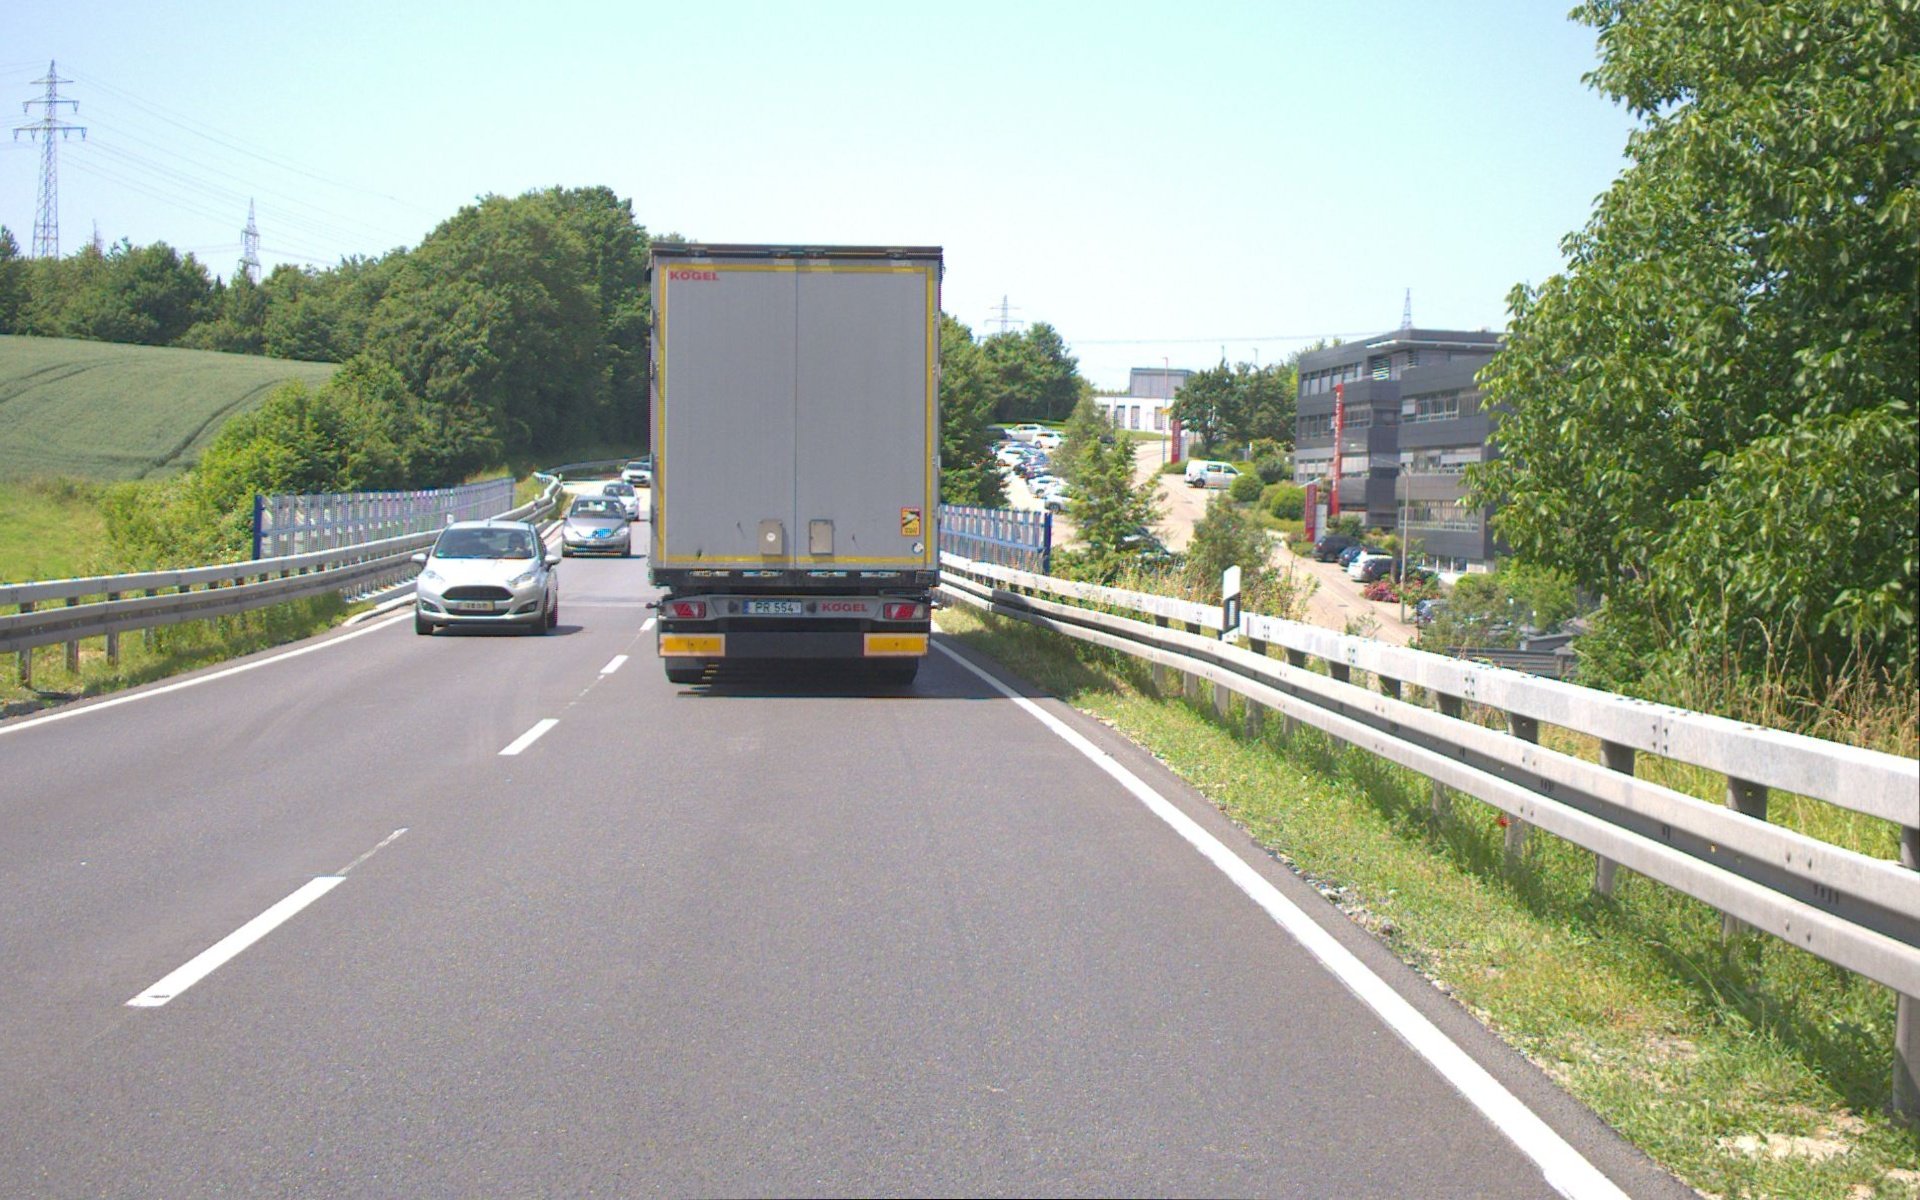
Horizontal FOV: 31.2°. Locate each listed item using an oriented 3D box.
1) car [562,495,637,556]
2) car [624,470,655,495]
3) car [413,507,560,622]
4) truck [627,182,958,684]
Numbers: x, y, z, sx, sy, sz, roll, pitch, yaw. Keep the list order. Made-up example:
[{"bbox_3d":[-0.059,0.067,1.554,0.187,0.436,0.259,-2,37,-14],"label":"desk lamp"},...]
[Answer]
[{"bbox_3d":[-9.573,-1.988,91.596,1.806,1.584,4.380,0,1,-4],"label":"car"},{"bbox_3d":[-18.643,-6.848,199.936,1.781,1.430,4.836,0,2,-5],"label":"car"},{"bbox_3d":[-6.279,-0.507,45.879,1.646,1.436,4.159,0,2,-4],"label":"car"},{"bbox_3d":[-1.765,-1.531,34.748,2.865,4.344,9.790,0,1,-4],"label":"truck"}]
